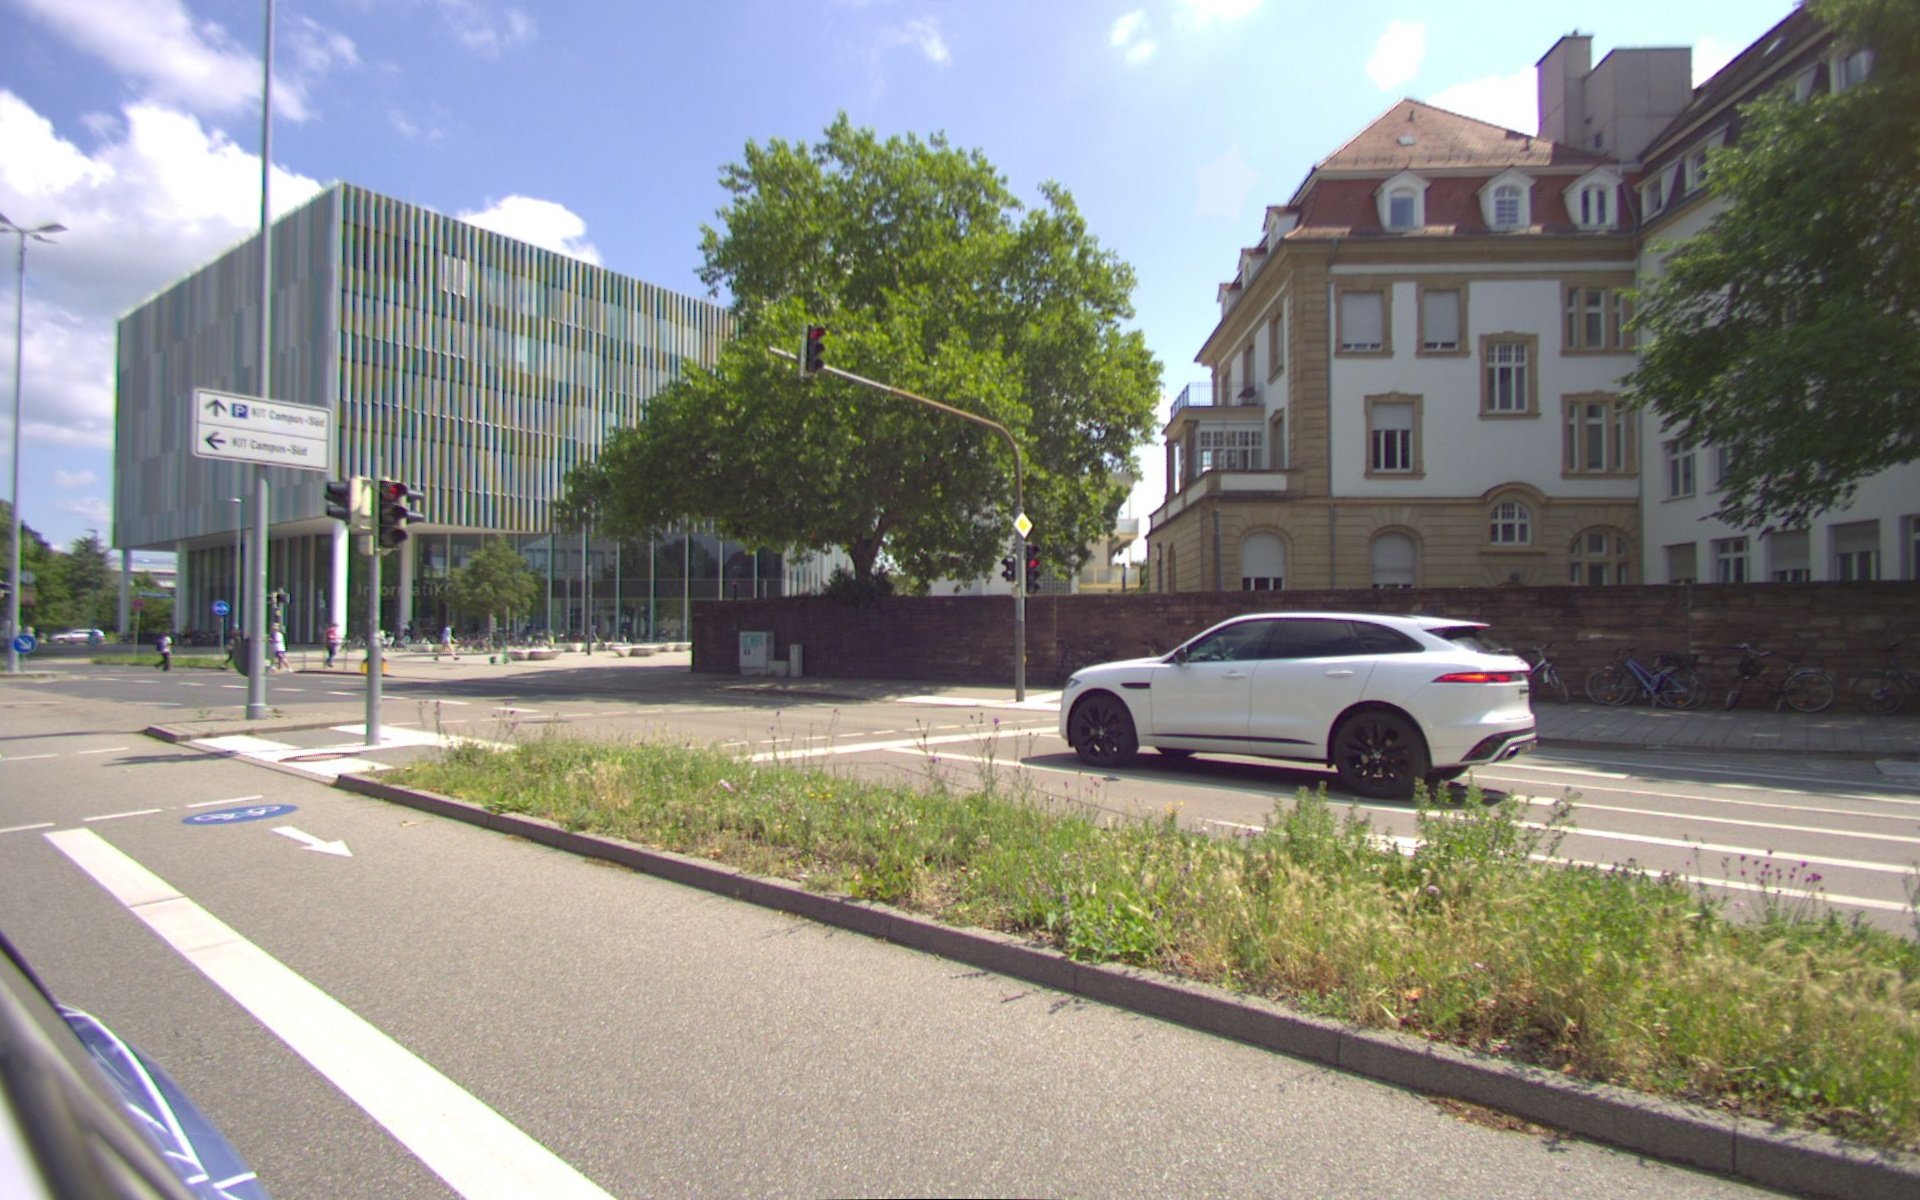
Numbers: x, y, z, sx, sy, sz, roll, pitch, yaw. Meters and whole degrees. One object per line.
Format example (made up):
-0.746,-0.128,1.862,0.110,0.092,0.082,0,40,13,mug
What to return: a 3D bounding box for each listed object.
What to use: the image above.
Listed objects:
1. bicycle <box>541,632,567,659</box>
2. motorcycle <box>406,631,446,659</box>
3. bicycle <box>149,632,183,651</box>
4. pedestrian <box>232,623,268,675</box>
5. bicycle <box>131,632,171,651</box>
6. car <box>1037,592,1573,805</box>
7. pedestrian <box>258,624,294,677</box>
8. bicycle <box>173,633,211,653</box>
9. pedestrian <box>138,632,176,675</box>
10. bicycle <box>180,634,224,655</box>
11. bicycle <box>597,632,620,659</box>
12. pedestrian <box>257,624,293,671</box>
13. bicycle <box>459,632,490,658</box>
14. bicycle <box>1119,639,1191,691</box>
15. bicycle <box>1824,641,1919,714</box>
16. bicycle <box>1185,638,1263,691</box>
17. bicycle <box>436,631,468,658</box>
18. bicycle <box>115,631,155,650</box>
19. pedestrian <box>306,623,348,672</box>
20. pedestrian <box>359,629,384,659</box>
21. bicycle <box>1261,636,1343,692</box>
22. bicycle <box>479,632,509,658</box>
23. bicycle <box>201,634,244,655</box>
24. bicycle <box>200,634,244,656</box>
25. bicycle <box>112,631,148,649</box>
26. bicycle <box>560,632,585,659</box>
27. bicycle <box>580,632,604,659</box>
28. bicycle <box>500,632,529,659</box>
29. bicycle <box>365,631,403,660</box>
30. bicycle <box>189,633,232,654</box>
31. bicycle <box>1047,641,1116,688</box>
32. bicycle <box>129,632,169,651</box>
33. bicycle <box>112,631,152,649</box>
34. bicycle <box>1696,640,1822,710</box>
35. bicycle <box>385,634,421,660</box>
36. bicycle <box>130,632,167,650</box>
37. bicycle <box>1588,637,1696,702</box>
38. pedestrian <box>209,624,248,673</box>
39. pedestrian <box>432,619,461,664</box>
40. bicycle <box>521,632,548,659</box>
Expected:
-24.546,2.735,61.281,0.983,1.564,3.424,0,-2,-14,bicycle
-32.159,2.700,61.005,0.956,1.652,3.302,0,-2,-6,motorcycle
-63.160,3.319,80.497,0.621,1.506,2.045,-2,-2,39,bicycle
-27.001,1.849,38.488,1.091,1.940,0.974,1,-2,-36,pedestrian
-65.393,3.333,81.808,0.621,1.506,2.480,-2,-2,39,bicycle
3.312,0.856,10.345,4.773,1.680,2.049,-2,-2,41,car
-25.662,1.880,37.975,1.090,1.940,0.974,1,-2,-33,pedestrian
-58.137,3.267,76.642,0.621,1.506,2.172,-2,-2,39,bicycle
-31.392,2.069,39.587,0.968,1.641,0.870,-1,-2,31,pedestrian
-55.844,3.237,74.557,0.621,1.506,2.480,-2,-2,39,bicycle
-20.987,2.725,60.539,0.983,1.564,3.424,0,-2,-14,bicycle
-29.200,2.013,43.153,0.964,1.940,0.873,-1,-2,19,pedestrian
-29.366,2.698,61.282,0.983,1.564,3.424,0,-2,-14,bicycle
4.530,1.495,23.552,1.589,1.161,0.495,-1,-2,32,bicycle
15.385,1.268,16.711,1.581,1.161,0.531,-1,-2,18,bicycle
5.902,1.424,22.661,1.589,1.161,0.616,-1,-2,32,bicycle
-30.722,2.687,61.253,1.034,1.564,3.424,0,-2,-14,bicycle
-69.130,3.374,84.823,0.621,1.506,2.480,-2,-2,39,bicycle
-25.904,1.929,41.429,0.968,1.940,1.098,-1,-2,29,pedestrian
-34.522,2.550,59.320,0.999,1.720,1.211,1,-2,-43,pedestrian
7.327,1.364,21.713,1.590,1.161,0.409,-2,-2,35,bicycle
-28.206,2.707,61.319,0.983,1.564,3.424,0,-2,-14,bicycle
-53.414,3.225,73.302,2.474,1.506,0.731,1,-2,-41,bicycle
-52.817,3.211,72.442,0.621,1.506,2.421,-2,-2,39,bicycle
-70.637,3.393,86.118,0.656,1.506,2.274,-2,-2,39,bicycle
-23.435,2.743,61.258,0.983,1.564,3.424,0,-2,-14,bicycle
-22.335,2.739,61.502,0.983,1.564,3.424,0,-2,-14,bicycle
-26.983,2.720,61.365,0.983,1.564,3.424,0,-2,-14,bicycle
-34.531,2.701,60.745,0.797,1.656,3.421,0,-2,-9,bicycle
-56.076,3.261,75.699,0.621,1.506,2.480,-2,-2,39,bicycle
2.940,1.548,24.542,1.589,1.107,0.567,-1,-2,32,bicycle
-66.193,3.344,82.587,0.621,1.506,2.480,-2,-2,39,bicycle
-69.706,3.379,85.227,0.621,1.506,2.480,-2,-2,39,bicycle
13.747,1.273,17.449,1.581,1.161,0.531,-1,-2,18,bicycle
-33.491,2.795,60.864,0.918,1.505,2.691,0,-1,-6,bicycle
-66.882,3.358,83.434,0.621,1.506,2.301,-2,-2,39,bicycle
12.469,1.255,18.549,1.587,1.161,0.399,-1,-2,29,bicycle
-29.777,1.960,41.210,0.965,1.940,0.873,-1,-2,21,pedestrian
-22.487,1.801,44.314,1.090,1.940,0.975,1,-2,-31,pedestrian
-25.652,2.724,61.128,0.983,1.564,3.424,0,-2,-14,bicycle
